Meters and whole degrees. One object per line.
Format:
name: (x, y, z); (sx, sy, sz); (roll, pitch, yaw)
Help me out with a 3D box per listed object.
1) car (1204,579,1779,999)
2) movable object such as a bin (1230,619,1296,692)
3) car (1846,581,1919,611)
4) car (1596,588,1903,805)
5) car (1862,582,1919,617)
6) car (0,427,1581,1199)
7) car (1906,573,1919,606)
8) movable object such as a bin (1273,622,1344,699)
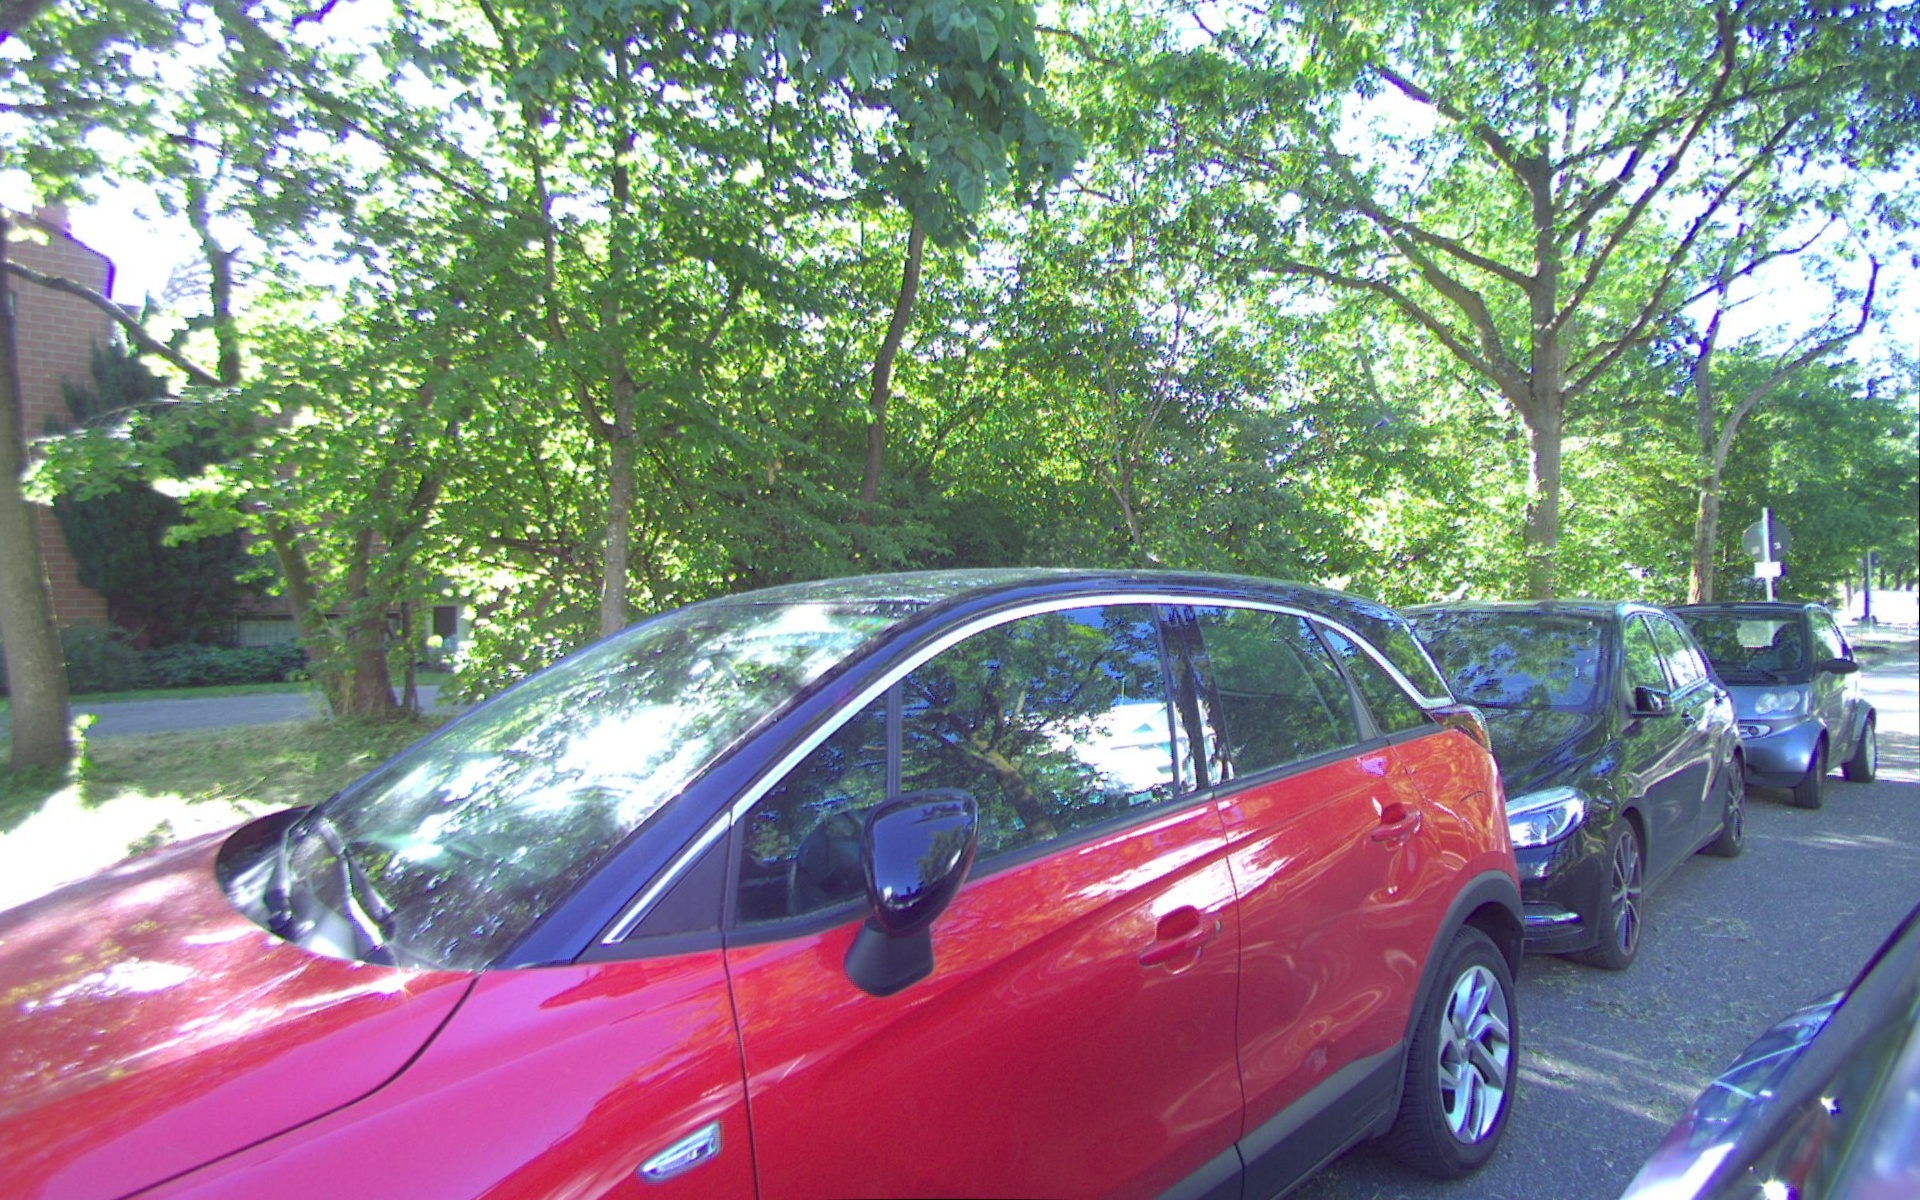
car: (3.241, 0.691, 5.740); (4.081, 1.528, 1.713); (0, -1, -44)
movable object such as a bin: (4.162, 0.752, 13.913); (0.454, 0.891, 0.728); (-7, 6, -35)
car: (66.669, -0.300, 71.839); (5.571, 2.030, 1.968); (2, 1, 45)
car: (6.715, 0.682, 8.560); (2.629, 1.528, 1.497); (0, -1, -39)
car: (57.243, -0.022, 60.106); (1.966, 2.030, 5.262); (0, 1, -43)
car: (-0.201, 0.664, 2.379); (3.995, 1.594, 1.681); (0, -1, -41)
car: (76.726, -0.767, 78.784); (4.401, 2.578, 1.858); (2, 1, 45)
movable object such as a bin: (4.579, 0.781, 13.303); (0.454, 0.891, 0.728); (-7, 6, -35)
